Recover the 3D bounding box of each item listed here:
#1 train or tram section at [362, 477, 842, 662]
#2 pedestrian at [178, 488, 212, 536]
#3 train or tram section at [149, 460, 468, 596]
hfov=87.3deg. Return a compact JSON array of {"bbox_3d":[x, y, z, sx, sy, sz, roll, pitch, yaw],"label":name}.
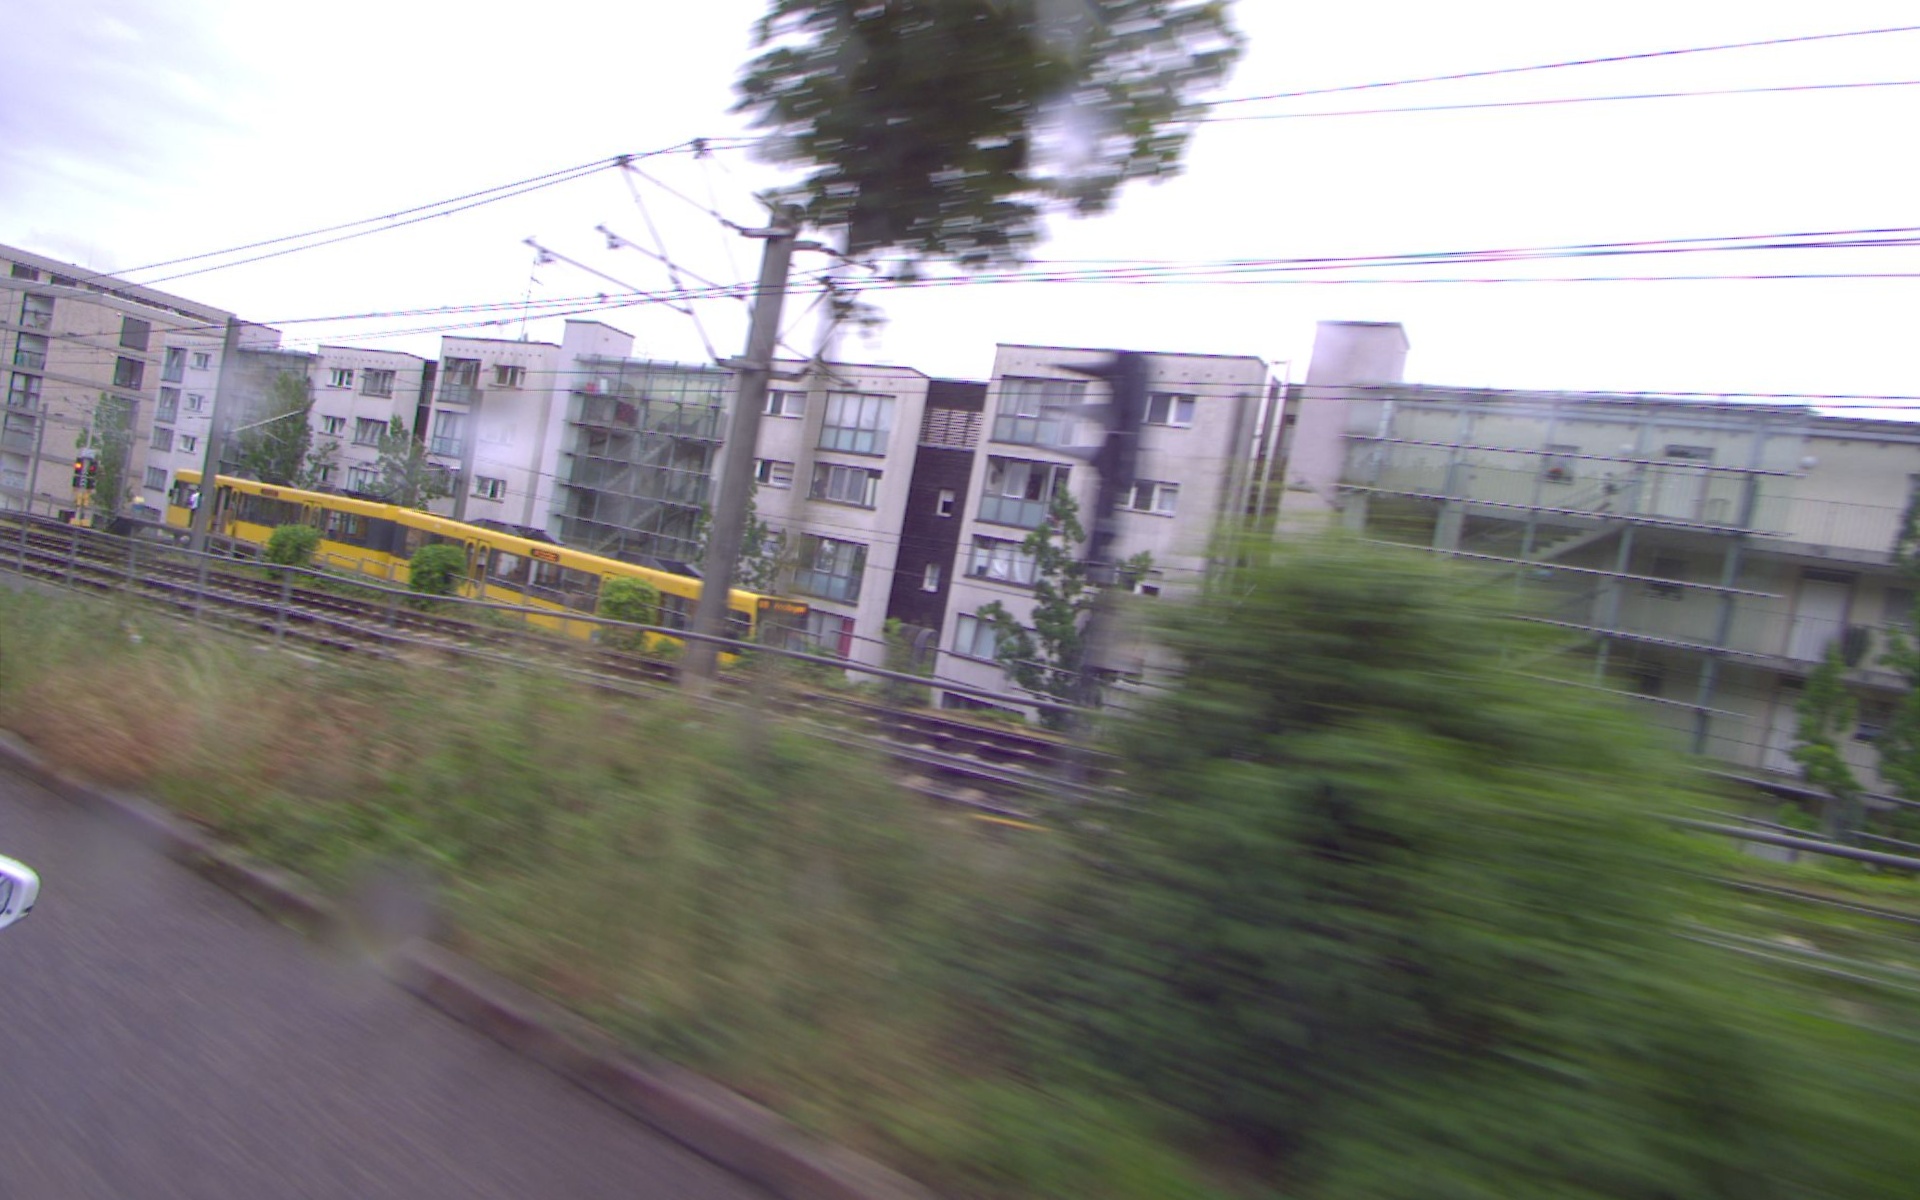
[{"bbox_3d":[-12.625,-1.318,33.105,18.958,3.993,3.337,7,-1,31],"label":"train or tram section"},{"bbox_3d":[-32.574,-3.729,42.844,0.804,1.902,0.723,6,-1,31],"label":"pedestrian"},{"bbox_3d":[-28.140,-3.291,42.616,18.498,3.993,3.337,7,-1,31],"label":"train or tram section"}]
